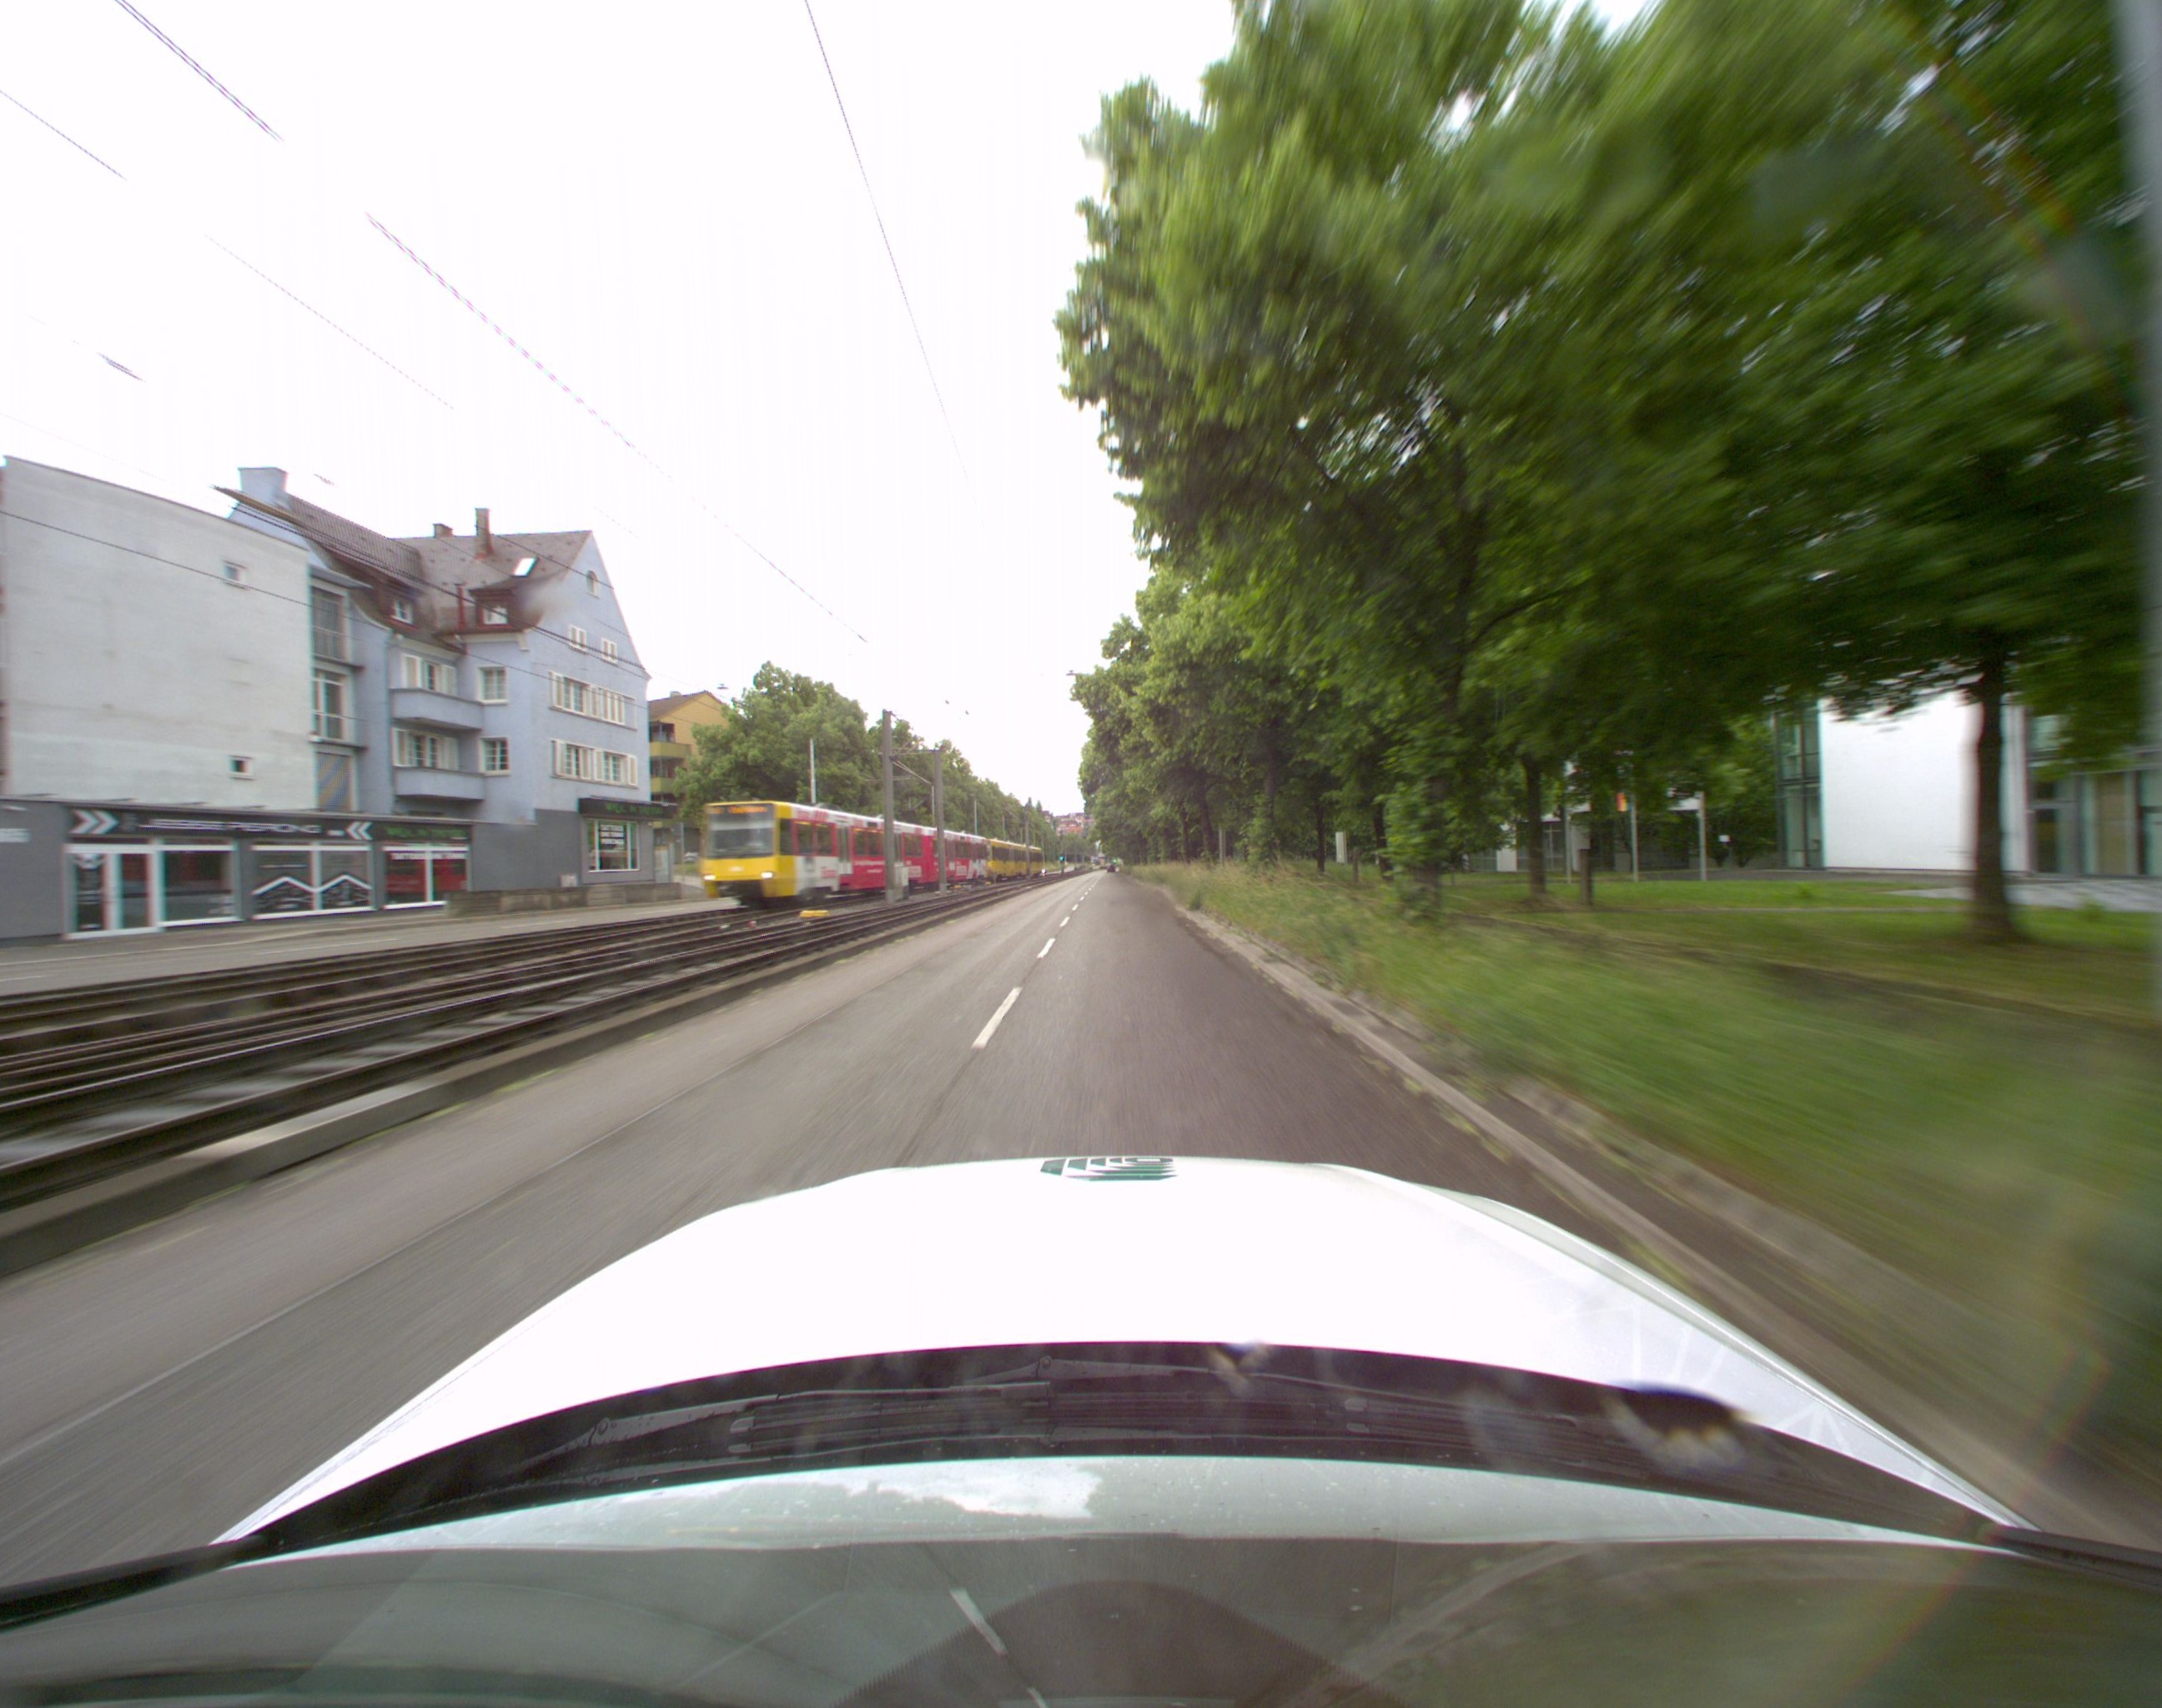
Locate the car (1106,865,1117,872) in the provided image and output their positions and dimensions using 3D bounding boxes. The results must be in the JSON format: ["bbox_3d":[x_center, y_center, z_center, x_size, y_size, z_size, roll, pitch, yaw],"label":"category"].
[{"bbox_3d":[6.156,2.914,164.758,2.186,1.329,4.002,-1,0,2],"label":"car"}]

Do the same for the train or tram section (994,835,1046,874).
[{"bbox_3d":[-6.500,0.045,90.621,2.954,3.811,19.538,-2,0,4],"label":"train or tram section"}]

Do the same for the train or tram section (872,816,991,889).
[{"bbox_3d":[-8.967,-0.046,52.457,2.954,3.811,18.632,-2,0,4],"label":"train or tram section"}]

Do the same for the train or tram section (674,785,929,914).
[{"bbox_3d":[-10.191,-0.100,33.875,2.954,3.811,18.632,-2,0,4],"label":"train or tram section"}]

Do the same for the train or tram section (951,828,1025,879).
[{"bbox_3d":[-7.745,0.007,71.310,2.954,3.811,19.116,-2,0,4],"label":"train or tram section"}]
